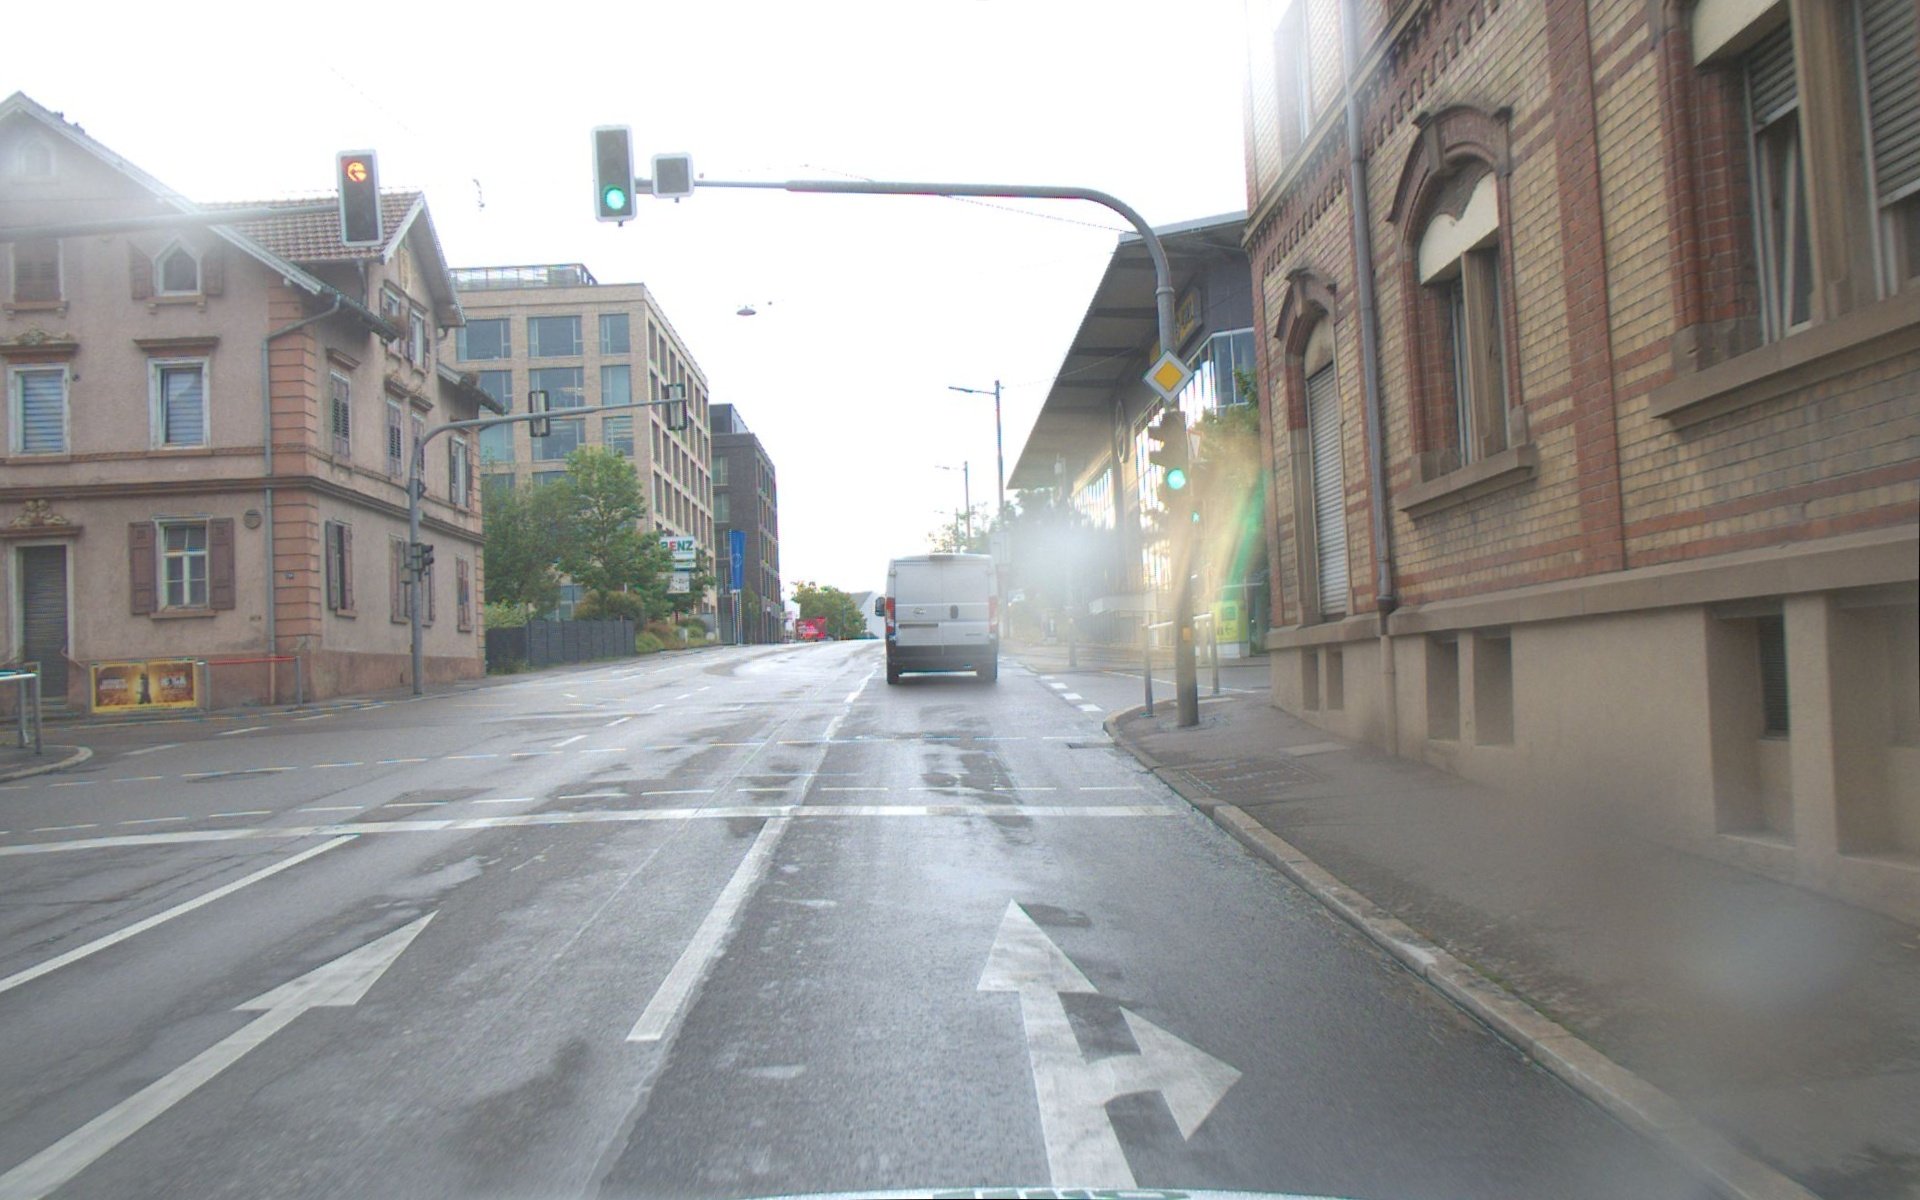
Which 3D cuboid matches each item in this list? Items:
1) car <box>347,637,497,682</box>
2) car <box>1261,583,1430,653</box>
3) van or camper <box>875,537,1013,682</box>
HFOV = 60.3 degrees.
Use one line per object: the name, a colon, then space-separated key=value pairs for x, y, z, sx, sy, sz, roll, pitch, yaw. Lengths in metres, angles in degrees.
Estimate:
car: x=-15.819 y=1.740 z=48.733 sx=3.910 sy=1.183 sz=1.605 roll=-2 pitch=-1 yaw=-6
car: x=10.016 y=0.500 z=42.971 sx=3.908 sy=1.535 sz=1.896 roll=-4 pitch=-5 yaw=26
van or camper: x=-0.316 y=0.212 z=30.917 sx=2.292 sy=2.398 sz=5.198 roll=-2 pitch=-1 yaw=-1
